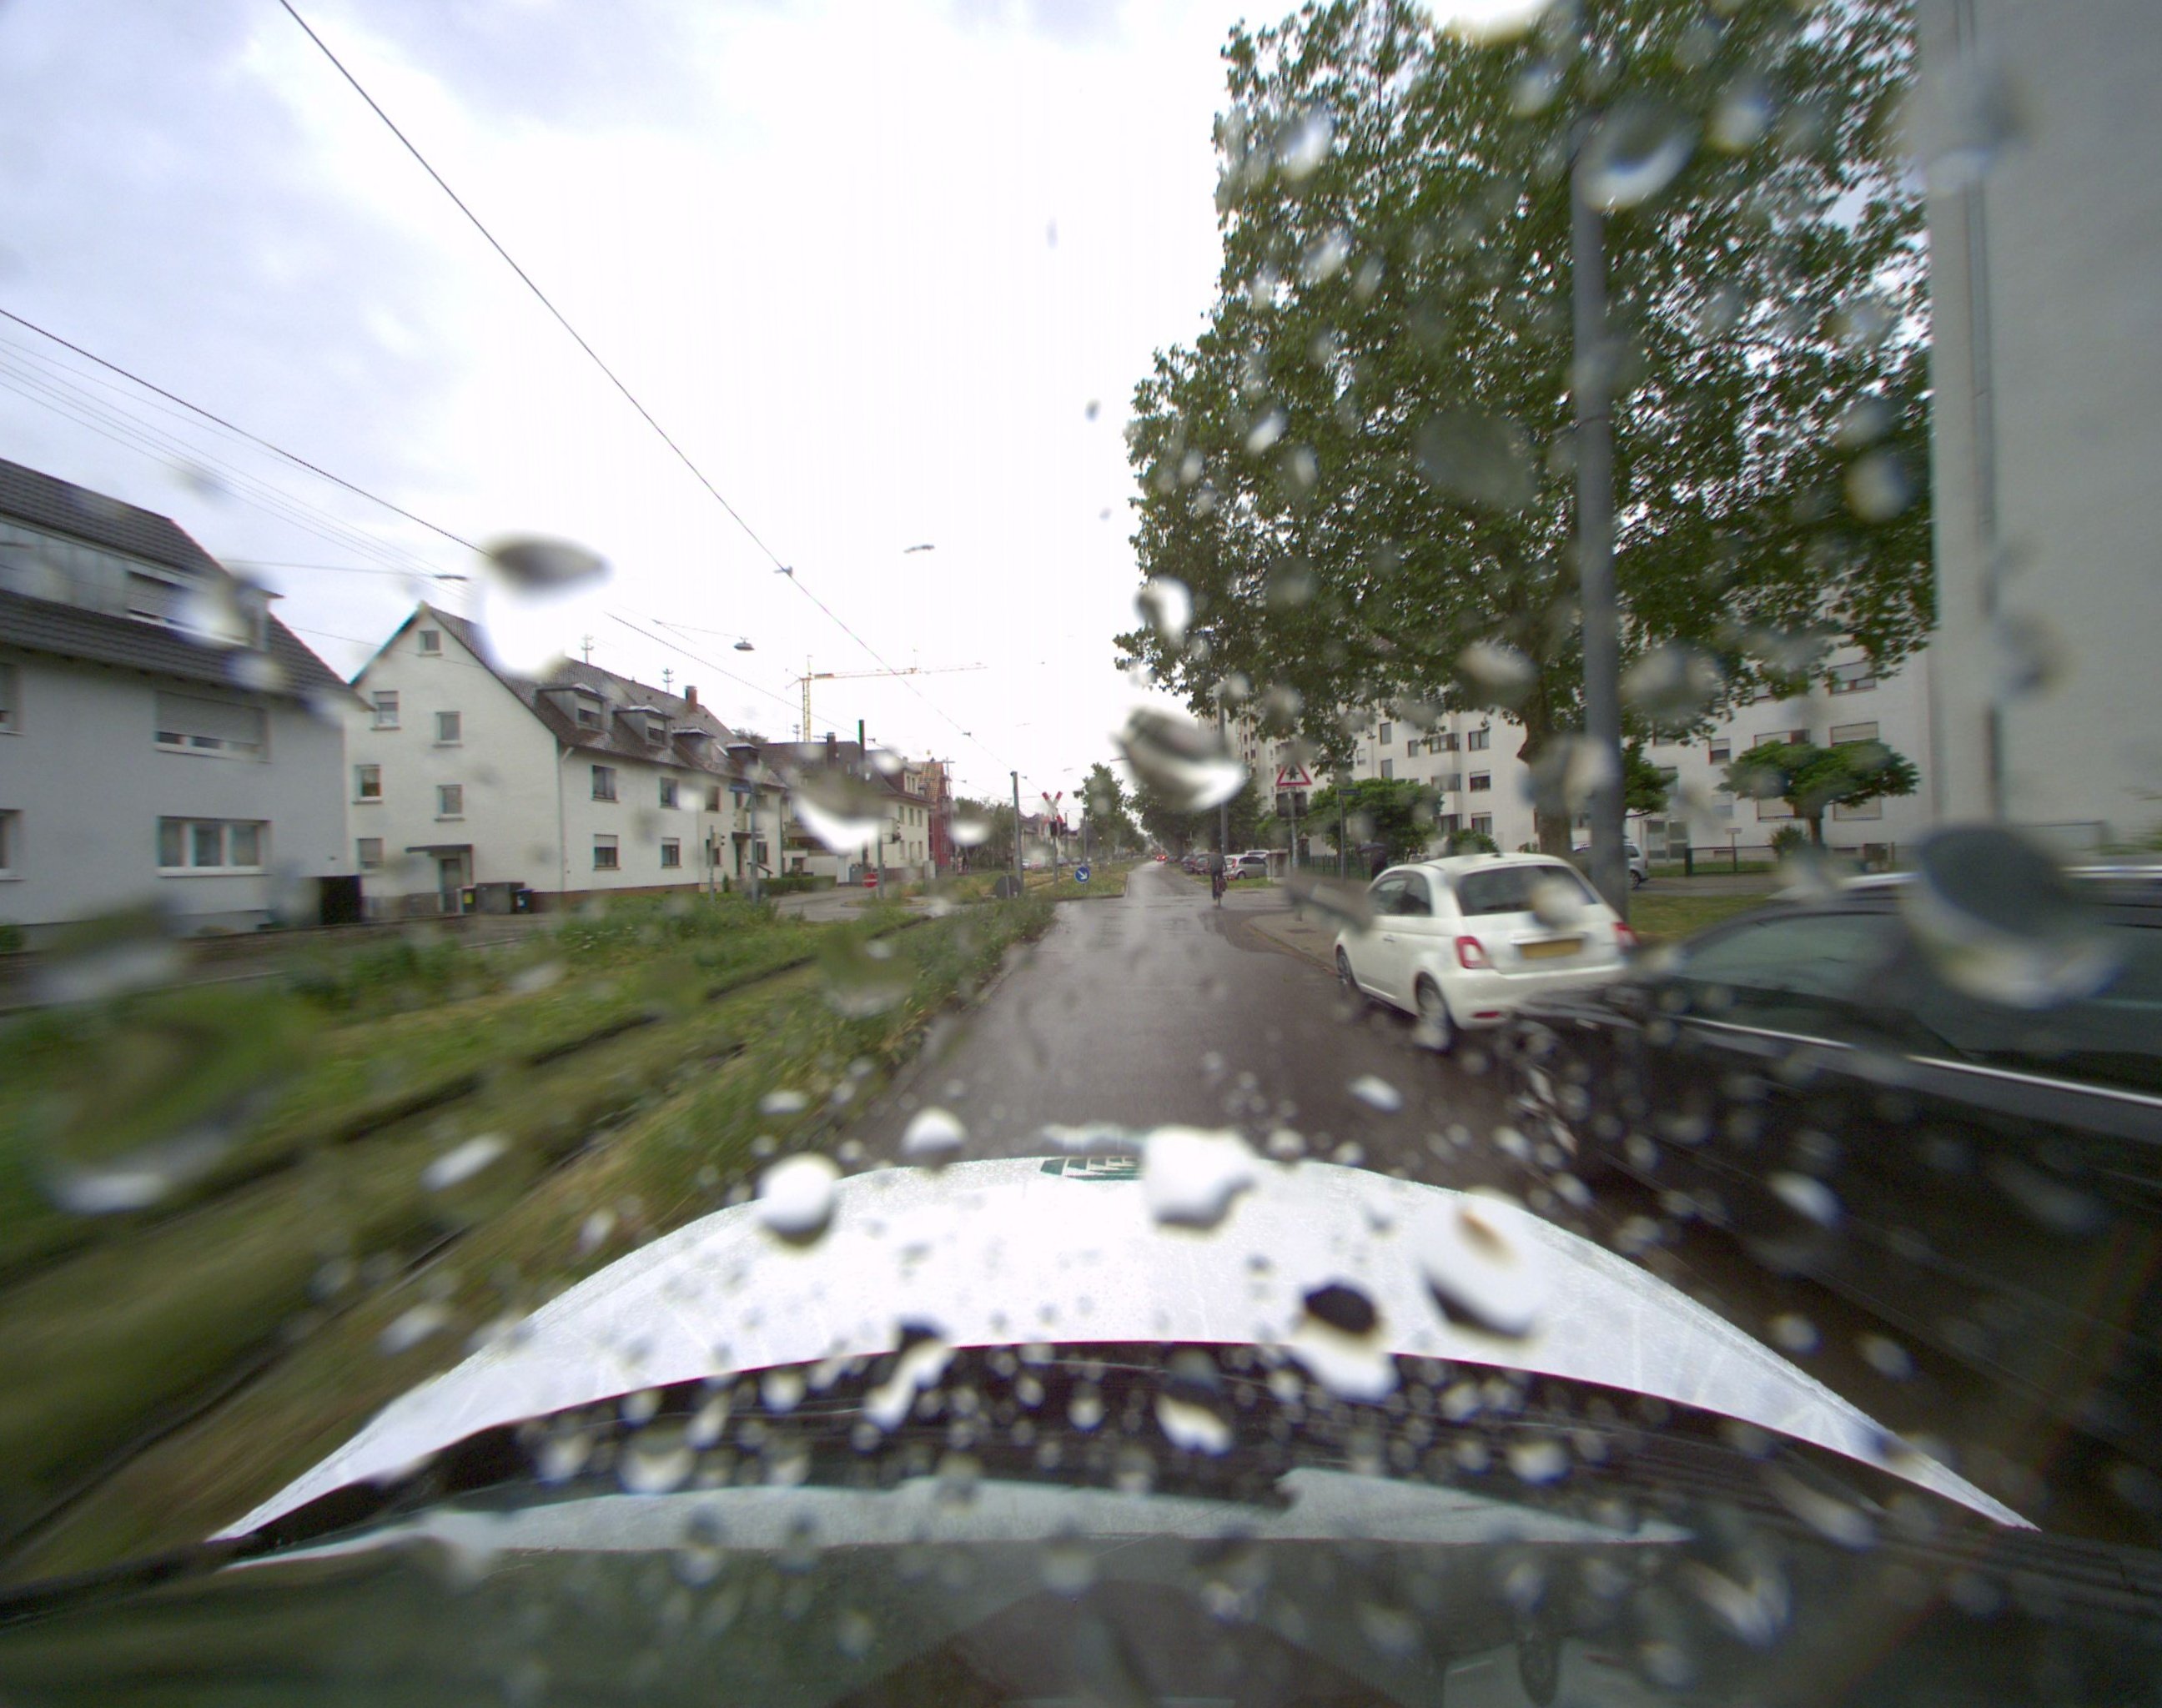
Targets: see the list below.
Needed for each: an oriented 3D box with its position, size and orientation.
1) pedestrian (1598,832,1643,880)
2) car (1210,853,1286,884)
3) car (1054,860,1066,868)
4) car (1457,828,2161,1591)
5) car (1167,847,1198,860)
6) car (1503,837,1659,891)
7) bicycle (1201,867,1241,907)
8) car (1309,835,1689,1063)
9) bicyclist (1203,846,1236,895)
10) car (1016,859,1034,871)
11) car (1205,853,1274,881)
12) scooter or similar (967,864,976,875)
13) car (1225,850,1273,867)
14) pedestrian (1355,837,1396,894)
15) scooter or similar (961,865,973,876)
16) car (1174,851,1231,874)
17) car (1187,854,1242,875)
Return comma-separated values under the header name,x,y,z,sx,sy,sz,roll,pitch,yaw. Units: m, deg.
name,x,y,z,sx,sy,sz,roll,pitch,yaw
pedestrian,20.129,0.079,30.397,1.174,1.769,0.721,-1,-1,1
car,9.386,0.784,45.798,4.014,1.508,1.766,-2,-2,-32
car,-3.736,1.771,144.281,1.655,1.244,4.078,1,0,6
car,3.015,0.661,2.410,1.893,1.449,4.185,-2,0,1
car,15.252,-0.086,122.805,4.158,1.719,1.982,-4,1,-27
car,17.545,0.364,28.746,4.272,1.680,1.874,-2,-1,5
bicycle,4.217,0.965,24.678,0.806,1.097,2.518,-2,0,2
car,3.446,0.667,7.636,1.552,1.519,4.001,-2,0,2
bicyclist,4.203,0.494,24.715,0.806,1.433,1.060,-2,-1,2
car,-7.915,1.572,114.992,1.701,1.542,4.430,1,0,6
car,9.582,0.767,49.174,4.017,1.508,1.687,-2,-2,-35
scooter or similar,-12.029,1.674,89.411,0.390,1.180,1.289,-2,-1,20
car,18.496,0.501,89.716,4.804,1.745,1.993,-1,-1,-11
pedestrian,9.810,0.377,27.166,1.091,1.813,1.439,-2,0,14
scooter or similar,-12.064,1.701,86.301,0.435,1.129,1.291,-2,-1,34
car,9.592,0.647,64.230,4.370,1.651,1.837,-2,0,-37
car,10.063,0.754,61.173,4.019,1.429,1.715,-2,0,-37
